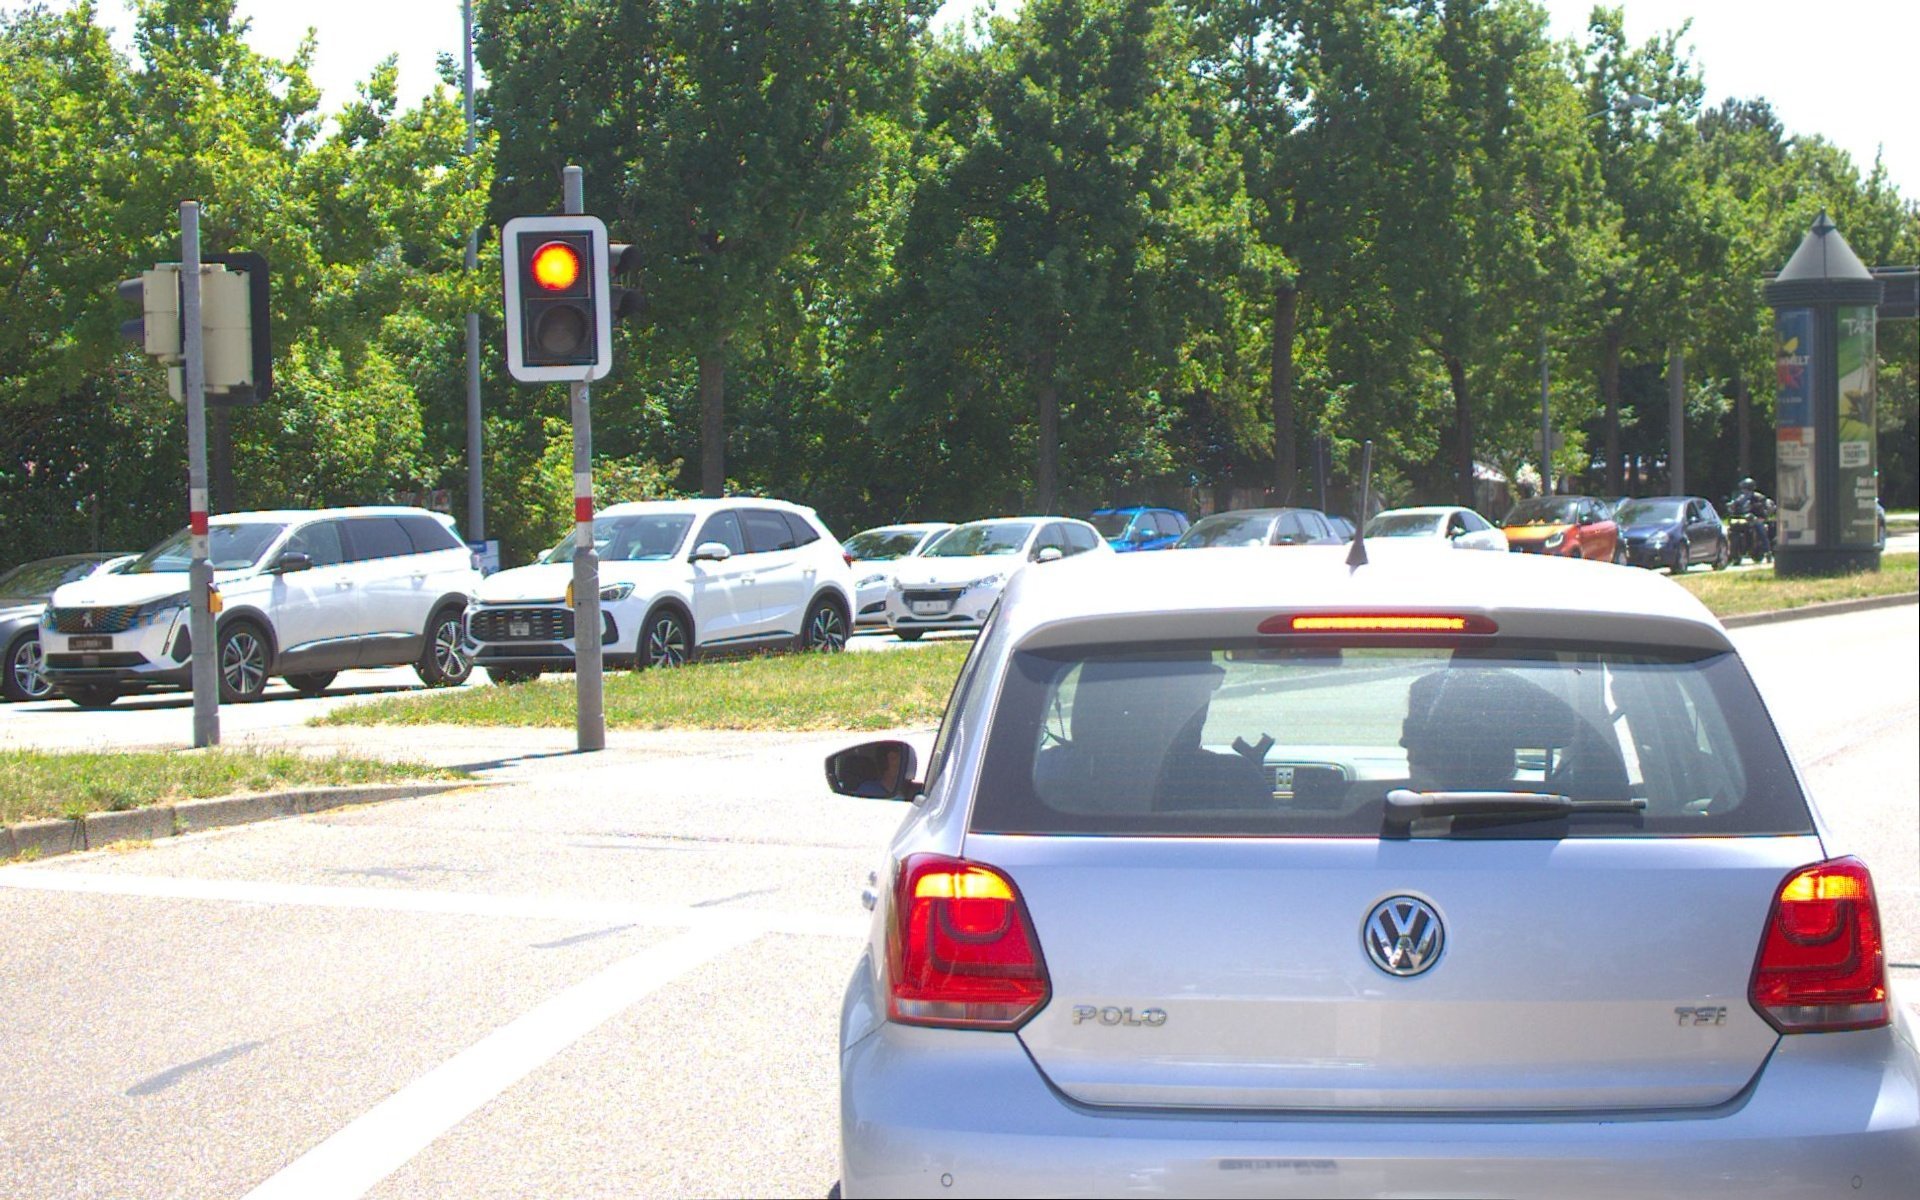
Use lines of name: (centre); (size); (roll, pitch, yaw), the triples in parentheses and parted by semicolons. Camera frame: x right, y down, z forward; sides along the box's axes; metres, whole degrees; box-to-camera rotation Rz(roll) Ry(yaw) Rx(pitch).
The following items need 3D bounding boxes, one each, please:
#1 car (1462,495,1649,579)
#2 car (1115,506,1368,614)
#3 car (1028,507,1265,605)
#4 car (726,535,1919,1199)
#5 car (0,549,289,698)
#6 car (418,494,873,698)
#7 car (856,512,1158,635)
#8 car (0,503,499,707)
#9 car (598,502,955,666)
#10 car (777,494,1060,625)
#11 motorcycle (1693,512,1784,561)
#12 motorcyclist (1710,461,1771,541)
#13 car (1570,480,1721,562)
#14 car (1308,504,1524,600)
car: (10.567, -1.129, 60.741); (1.861, 1.417, 4.401); (0, 2, 30)
car: (4.027, -0.595, 48.534); (1.861, 1.417, 4.401); (0, 2, 30)
car: (2.933, -0.708, 53.043); (1.861, 1.417, 4.401); (0, 2, 30)
car: (0.662, 0.624, 6.632); (1.776, 1.417, 4.000); (-1, 2, 2)
car: (-8.566, 0.191, 32.670); (1.861, 1.266, 4.401); (0, 2, 30)
car: (-2.730, -0.095, 30.870); (1.861, 1.677, 4.401); (0, 2, 30)
car: (0.651, -0.364, 42.893); (1.861, 1.417, 4.401); (0, 2, 30)
car: (-6.147, -0.018, 30.124); (1.861, 1.612, 4.401); (0, 2, 30)
car: (-1.963, -0.222, 38.188); (1.861, 1.677, 4.401); (0, 2, 30)
car: (-0.509, -0.588, 46.793); (1.861, 1.677, 4.401); (0, 2, 30)
motorcycle: (15.809, -1.291, 69.751); (0.897, 0.949, 2.811); (-1, 1, 32)
motorcyclist: (15.864, -2.003, 69.872); (0.907, 1.581, 1.008); (-1, 0, 32)
car: (12.955, -1.488, 64.843); (1.718, 1.470, 3.791); (-1, 1, 29)
car: (7.268, -0.784, 54.475); (1.861, 1.417, 4.401); (0, 2, 30)
